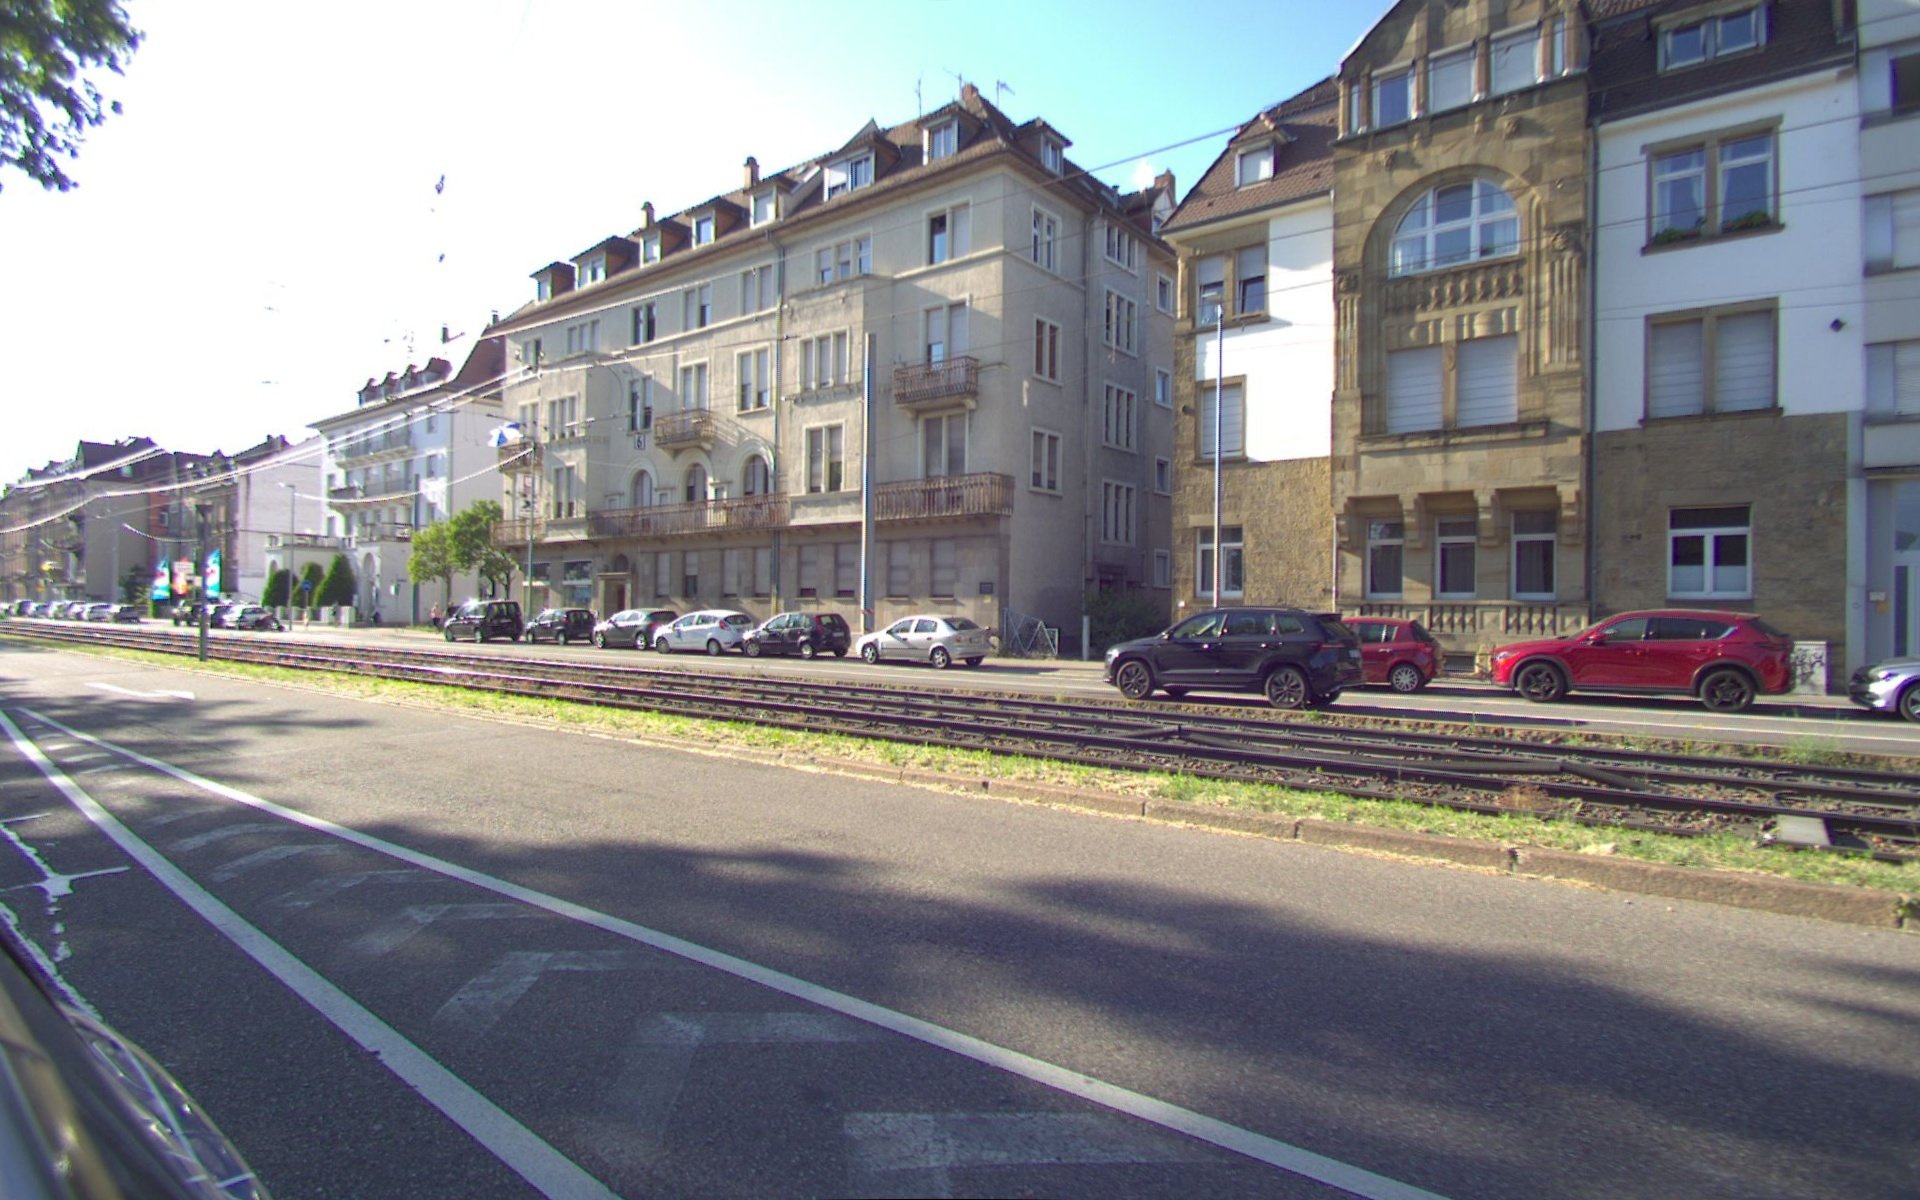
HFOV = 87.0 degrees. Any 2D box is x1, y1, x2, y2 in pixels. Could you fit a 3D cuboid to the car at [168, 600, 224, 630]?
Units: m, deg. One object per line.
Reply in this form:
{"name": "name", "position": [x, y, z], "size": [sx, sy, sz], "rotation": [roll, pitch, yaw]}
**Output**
{"name": "car", "position": [-54.784, 1.058, 72.538], "size": [5.589, 2.025, 2.055], "rotation": [0, 1, 41]}

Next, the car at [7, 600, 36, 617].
{"name": "car", "position": [-105.284, 0.962, 113.529], "size": [4.721, 1.821, 1.644], "rotation": [0, 0, 38]}

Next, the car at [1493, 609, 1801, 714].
{"name": "car", "position": [12.023, 0.985, 17.884], "size": [4.350, 1.570, 1.815], "rotation": [0, 0, 40]}

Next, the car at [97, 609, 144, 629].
{"name": "car", "position": [-70.139, 1.544, 84.540], "size": [4.835, 1.471, 1.903], "rotation": [0, 4, 38]}

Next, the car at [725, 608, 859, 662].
{"name": "car", "position": [-5.324, 1.073, 31.909], "size": [4.149, 1.479, 1.622], "rotation": [-1, 4, 35]}

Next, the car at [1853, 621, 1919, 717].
{"name": "car", "position": [16.093, 1.044, 14.625], "size": [4.676, 1.401, 1.815], "rotation": [0, -1, 39]}

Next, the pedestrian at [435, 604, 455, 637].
{"name": "pedestrian", "position": [-27.282, 1.067, 53.652], "size": [0.843, 1.709, 0.593], "rotation": [0, 1, -15]}

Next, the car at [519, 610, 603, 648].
{"name": "car", "position": [-16.404, 1.162, 41.553], "size": [3.503, 1.401, 1.612], "rotation": [0, 2, 38]}

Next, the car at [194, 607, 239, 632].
{"name": "car", "position": [-50.232, 1.283, 68.334], "size": [4.157, 1.518, 1.618], "rotation": [1, 1, 41]}

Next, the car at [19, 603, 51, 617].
{"name": "car", "position": [-100.289, 1.071, 109.682], "size": [4.623, 1.550, 1.901], "rotation": [0, 0, 39]}

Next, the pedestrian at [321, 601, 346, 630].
{"name": "pedestrian", "position": [-39.406, 0.990, 63.609], "size": [0.930, 1.791, 0.986], "rotation": [0, 1, 25]}

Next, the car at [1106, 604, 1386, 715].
{"name": "car", "position": [4.632, 0.904, 16.675], "size": [4.152, 1.614, 1.620], "rotation": [0, -2, 37]}

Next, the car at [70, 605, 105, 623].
{"name": "car", "position": [-81.474, 1.314, 94.461], "size": [4.841, 1.572, 1.900], "rotation": [1, 1, 42]}

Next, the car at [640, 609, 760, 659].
{"name": "car", "position": [-8.832, 1.114, 34.332], "size": [3.971, 1.479, 1.623], "rotation": [-1, 4, 33]}

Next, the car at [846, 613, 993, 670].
{"name": "car", "position": [-1.196, 1.132, 28.647], "size": [4.155, 1.480, 1.619], "rotation": [-1, 0, 40]}

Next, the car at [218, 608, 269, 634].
{"name": "car", "position": [-45.920, 1.332, 64.841], "size": [3.997, 1.521, 1.776], "rotation": [1, 1, 40]}

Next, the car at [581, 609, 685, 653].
{"name": "car", "position": [-12.181, 1.105, 37.585], "size": [4.154, 1.480, 1.619], "rotation": [0, 2, 39]}

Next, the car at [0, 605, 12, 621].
{"name": "car", "position": [-116.803, 1.564, 122.885], "size": [3.994, 1.821, 1.777], "rotation": [0, 0, 38]}

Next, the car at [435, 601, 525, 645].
{"name": "car", "position": [-21.334, 1.000, 44.951], "size": [4.395, 1.800, 1.845], "rotation": [-1, 0, 38]}

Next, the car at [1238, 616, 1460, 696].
{"name": "car", "position": [8.080, 1.094, 21.119], "size": [4.025, 1.401, 1.818], "rotation": [0, 2, 34]}

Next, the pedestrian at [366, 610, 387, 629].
{"name": "pedestrian", "position": [-37.802, 1.276, 65.535], "size": [0.892, 1.196, 0.870], "rotation": [1, 1, 31]}

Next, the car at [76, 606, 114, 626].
{"name": "car", "position": [-77.342, 1.393, 90.453], "size": [4.840, 1.707, 1.900], "rotation": [0, 0, 41]}

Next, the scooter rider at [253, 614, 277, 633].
{"name": "scooter rider", "position": [-41.180, 1.413, 59.962], "size": [0.962, 1.097, 0.810], "rotation": [1, -2, -20]}

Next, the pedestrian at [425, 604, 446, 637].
{"name": "pedestrian", "position": [-27.413, 1.080, 52.918], "size": [0.843, 1.709, 0.593], "rotation": [0, 1, -15]}

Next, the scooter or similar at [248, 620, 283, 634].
{"name": "scooter or similar", "position": [-41.145, 1.614, 59.973], "size": [1.542, 0.776, 0.810], "rotation": [2, -2, -20]}
